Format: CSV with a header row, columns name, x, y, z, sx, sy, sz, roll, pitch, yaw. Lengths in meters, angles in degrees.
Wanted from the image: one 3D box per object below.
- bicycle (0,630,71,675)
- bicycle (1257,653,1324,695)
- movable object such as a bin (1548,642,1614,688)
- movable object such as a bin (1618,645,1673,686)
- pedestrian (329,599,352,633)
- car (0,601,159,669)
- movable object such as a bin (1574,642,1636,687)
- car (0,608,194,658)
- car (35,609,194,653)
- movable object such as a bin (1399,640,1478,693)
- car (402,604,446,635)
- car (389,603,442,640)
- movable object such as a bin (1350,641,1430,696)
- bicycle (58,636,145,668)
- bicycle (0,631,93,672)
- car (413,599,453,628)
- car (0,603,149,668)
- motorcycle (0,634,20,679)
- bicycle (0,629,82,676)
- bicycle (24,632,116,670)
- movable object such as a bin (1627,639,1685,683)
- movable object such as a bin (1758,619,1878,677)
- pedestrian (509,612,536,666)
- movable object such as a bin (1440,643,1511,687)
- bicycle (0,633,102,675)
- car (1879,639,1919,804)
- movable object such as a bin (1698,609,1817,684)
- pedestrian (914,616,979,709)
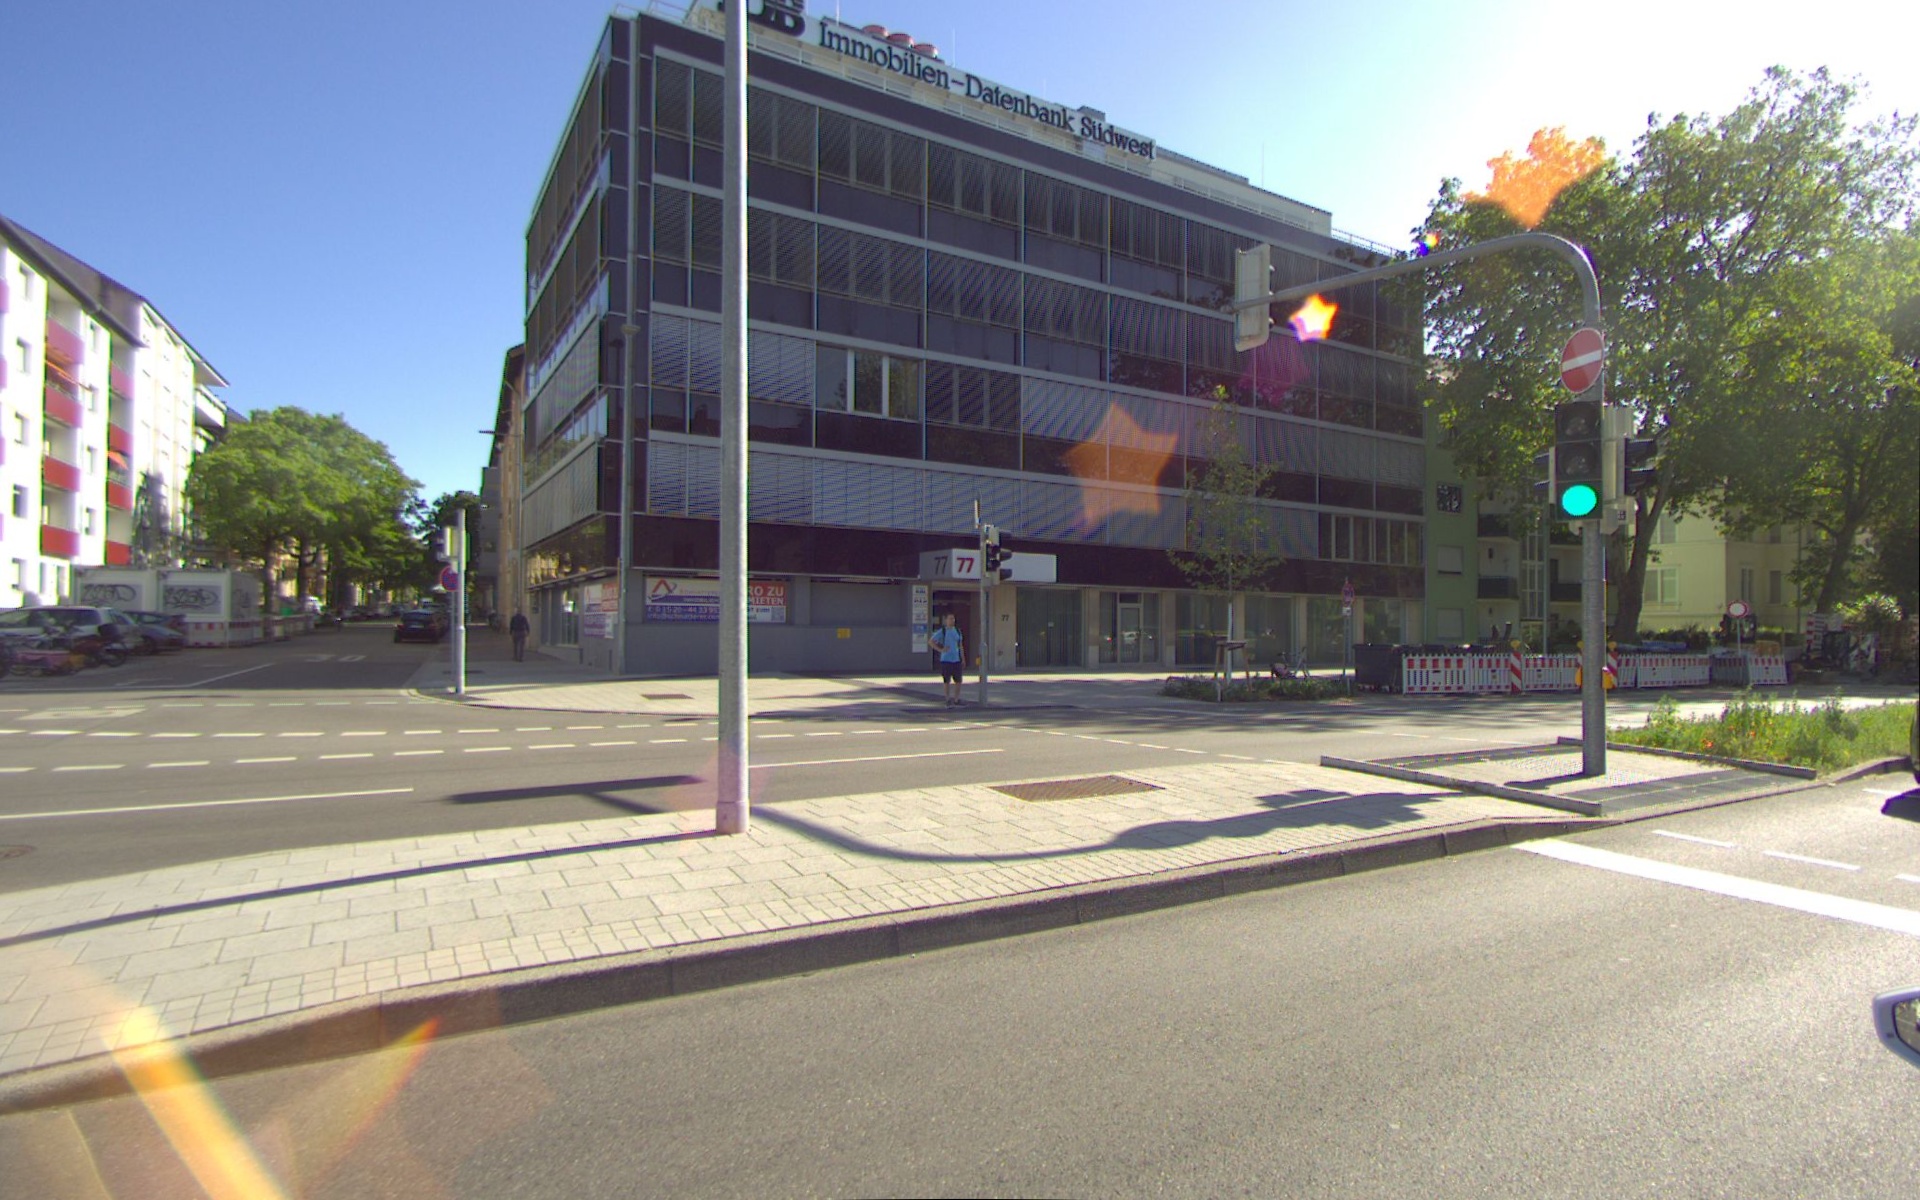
name,x,y,z,sx,sy,sz,roll,pitch,yaw
bicycle,-21.580,1.194,22.954,1.853,0.991,0.507,1,-1,-15
bicycle,8.850,1.968,26.890,1.857,1.051,0.624,1,-1,-30
movable object such as a bin,19.614,2.035,31.730,1.142,1.355,1.404,1,-1,-28
movable object such as a bin,22.664,2.140,33.209,1.523,1.287,0.975,1,-1,-31
pedestrian,-36.923,0.960,59.894,1.137,2.040,1.443,1,-1,-31
car,-26.927,1.054,30.531,3.746,1.981,1.690,1,-1,-28
movable object such as a bin,20.625,2.045,32.126,0.924,1.355,1.404,1,-1,-28
car,-28.217,1.079,33.063,4.518,1.549,1.752,1,-1,-29
car,-29.678,1.083,35.441,3.950,1.481,1.836,1,-1,-29
movable object such as a bin,13.531,1.855,28.418,1.833,1.406,1.209,1,-1,-29
car,-29.822,1.088,55.967,1.974,1.623,3.974,1,-1,-26
car,-25.244,1.003,46.677,1.974,1.623,3.974,1,-1,-26
movable object such as a bin,11.609,1.836,27.130,1.833,1.406,1.109,1,-1,-29
bicycle,-23.174,1.380,27.145,0.408,0.825,1.718,0,-2,35
bicycle,-22.887,1.280,25.132,1.714,1.017,0.507,1,-1,-26
car,-34.232,0.854,65.327,1.972,1.796,3.977,1,0,-23
car,-26.044,0.996,28.418,4.418,1.754,1.988,1,-1,-25
motorcycle,-21.211,1.202,21.264,1.816,0.948,0.501,1,-1,-24
bicycle,-22.351,1.257,24.211,1.715,1.082,0.486,1,-1,-29
bicycle,-23.023,1.318,26.019,1.703,0.960,0.456,1,-1,-29
movable object such as a bin,23.944,2.075,34.597,1.608,1.441,1.259,0,-1,34
movable object such as a bin,36.081,2.031,42.193,5.530,2.308,1.985,2,-3,-29
pedestrian,-13.903,1.221,31.899,0.692,1.680,0.740,1,-1,-31
movable object such as a bin,15.015,1.873,29.283,1.226,1.219,1.389,1,-1,-28
bicycle,-21.518,1.270,23.648,1.923,0.960,0.476,1,-1,-22
car,10.690,1.086,9.400,4.574,1.430,1.915,1,-2,-32
movable object such as a bin,30.926,1.776,38.910,5.299,2.742,2.133,2,-1,-34
pedestrian,-0.269,1.174,19.257,0.998,1.733,0.863,1,-1,-24
